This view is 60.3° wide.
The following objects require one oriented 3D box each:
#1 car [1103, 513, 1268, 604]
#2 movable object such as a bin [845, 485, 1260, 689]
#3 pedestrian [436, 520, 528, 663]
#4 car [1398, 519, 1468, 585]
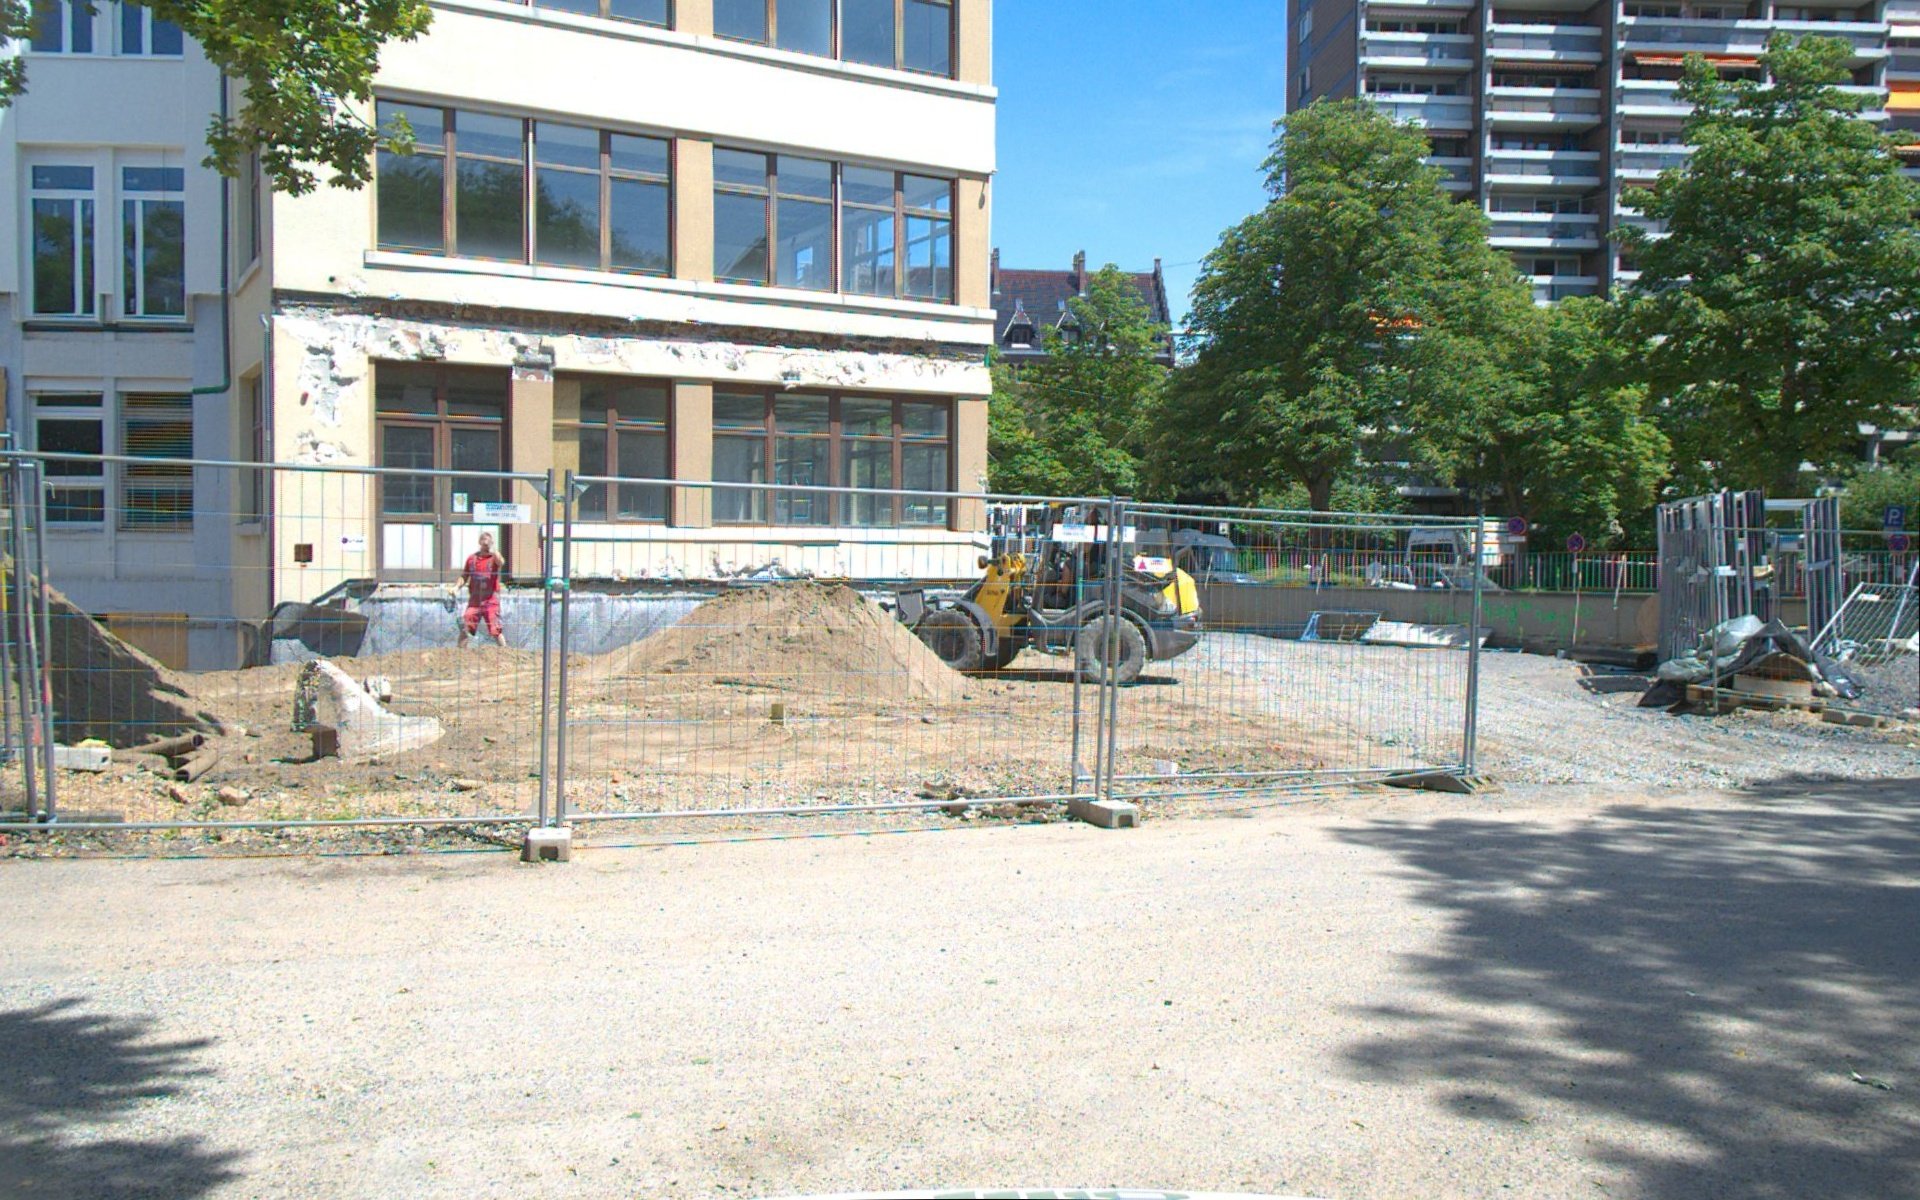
[{"bbox_3d":[6.437,-1.184,47.799,1.973,2.458,5.190,-1,1,-30],"label":"car"},{"bbox_3d":[1.327,-0.248,23.016,5.290,2.507,2.369,2,2,17],"label":"movable object such as a bin"},{"bbox_3d":[-6.487,-0.128,22.424,0.974,1.879,0.906,-1,1,-34],"label":"pedestrian"},{"bbox_3d":[17.234,-1.707,60.128,2.139,2.297,4.871,0,1,20],"label":"car"}]
